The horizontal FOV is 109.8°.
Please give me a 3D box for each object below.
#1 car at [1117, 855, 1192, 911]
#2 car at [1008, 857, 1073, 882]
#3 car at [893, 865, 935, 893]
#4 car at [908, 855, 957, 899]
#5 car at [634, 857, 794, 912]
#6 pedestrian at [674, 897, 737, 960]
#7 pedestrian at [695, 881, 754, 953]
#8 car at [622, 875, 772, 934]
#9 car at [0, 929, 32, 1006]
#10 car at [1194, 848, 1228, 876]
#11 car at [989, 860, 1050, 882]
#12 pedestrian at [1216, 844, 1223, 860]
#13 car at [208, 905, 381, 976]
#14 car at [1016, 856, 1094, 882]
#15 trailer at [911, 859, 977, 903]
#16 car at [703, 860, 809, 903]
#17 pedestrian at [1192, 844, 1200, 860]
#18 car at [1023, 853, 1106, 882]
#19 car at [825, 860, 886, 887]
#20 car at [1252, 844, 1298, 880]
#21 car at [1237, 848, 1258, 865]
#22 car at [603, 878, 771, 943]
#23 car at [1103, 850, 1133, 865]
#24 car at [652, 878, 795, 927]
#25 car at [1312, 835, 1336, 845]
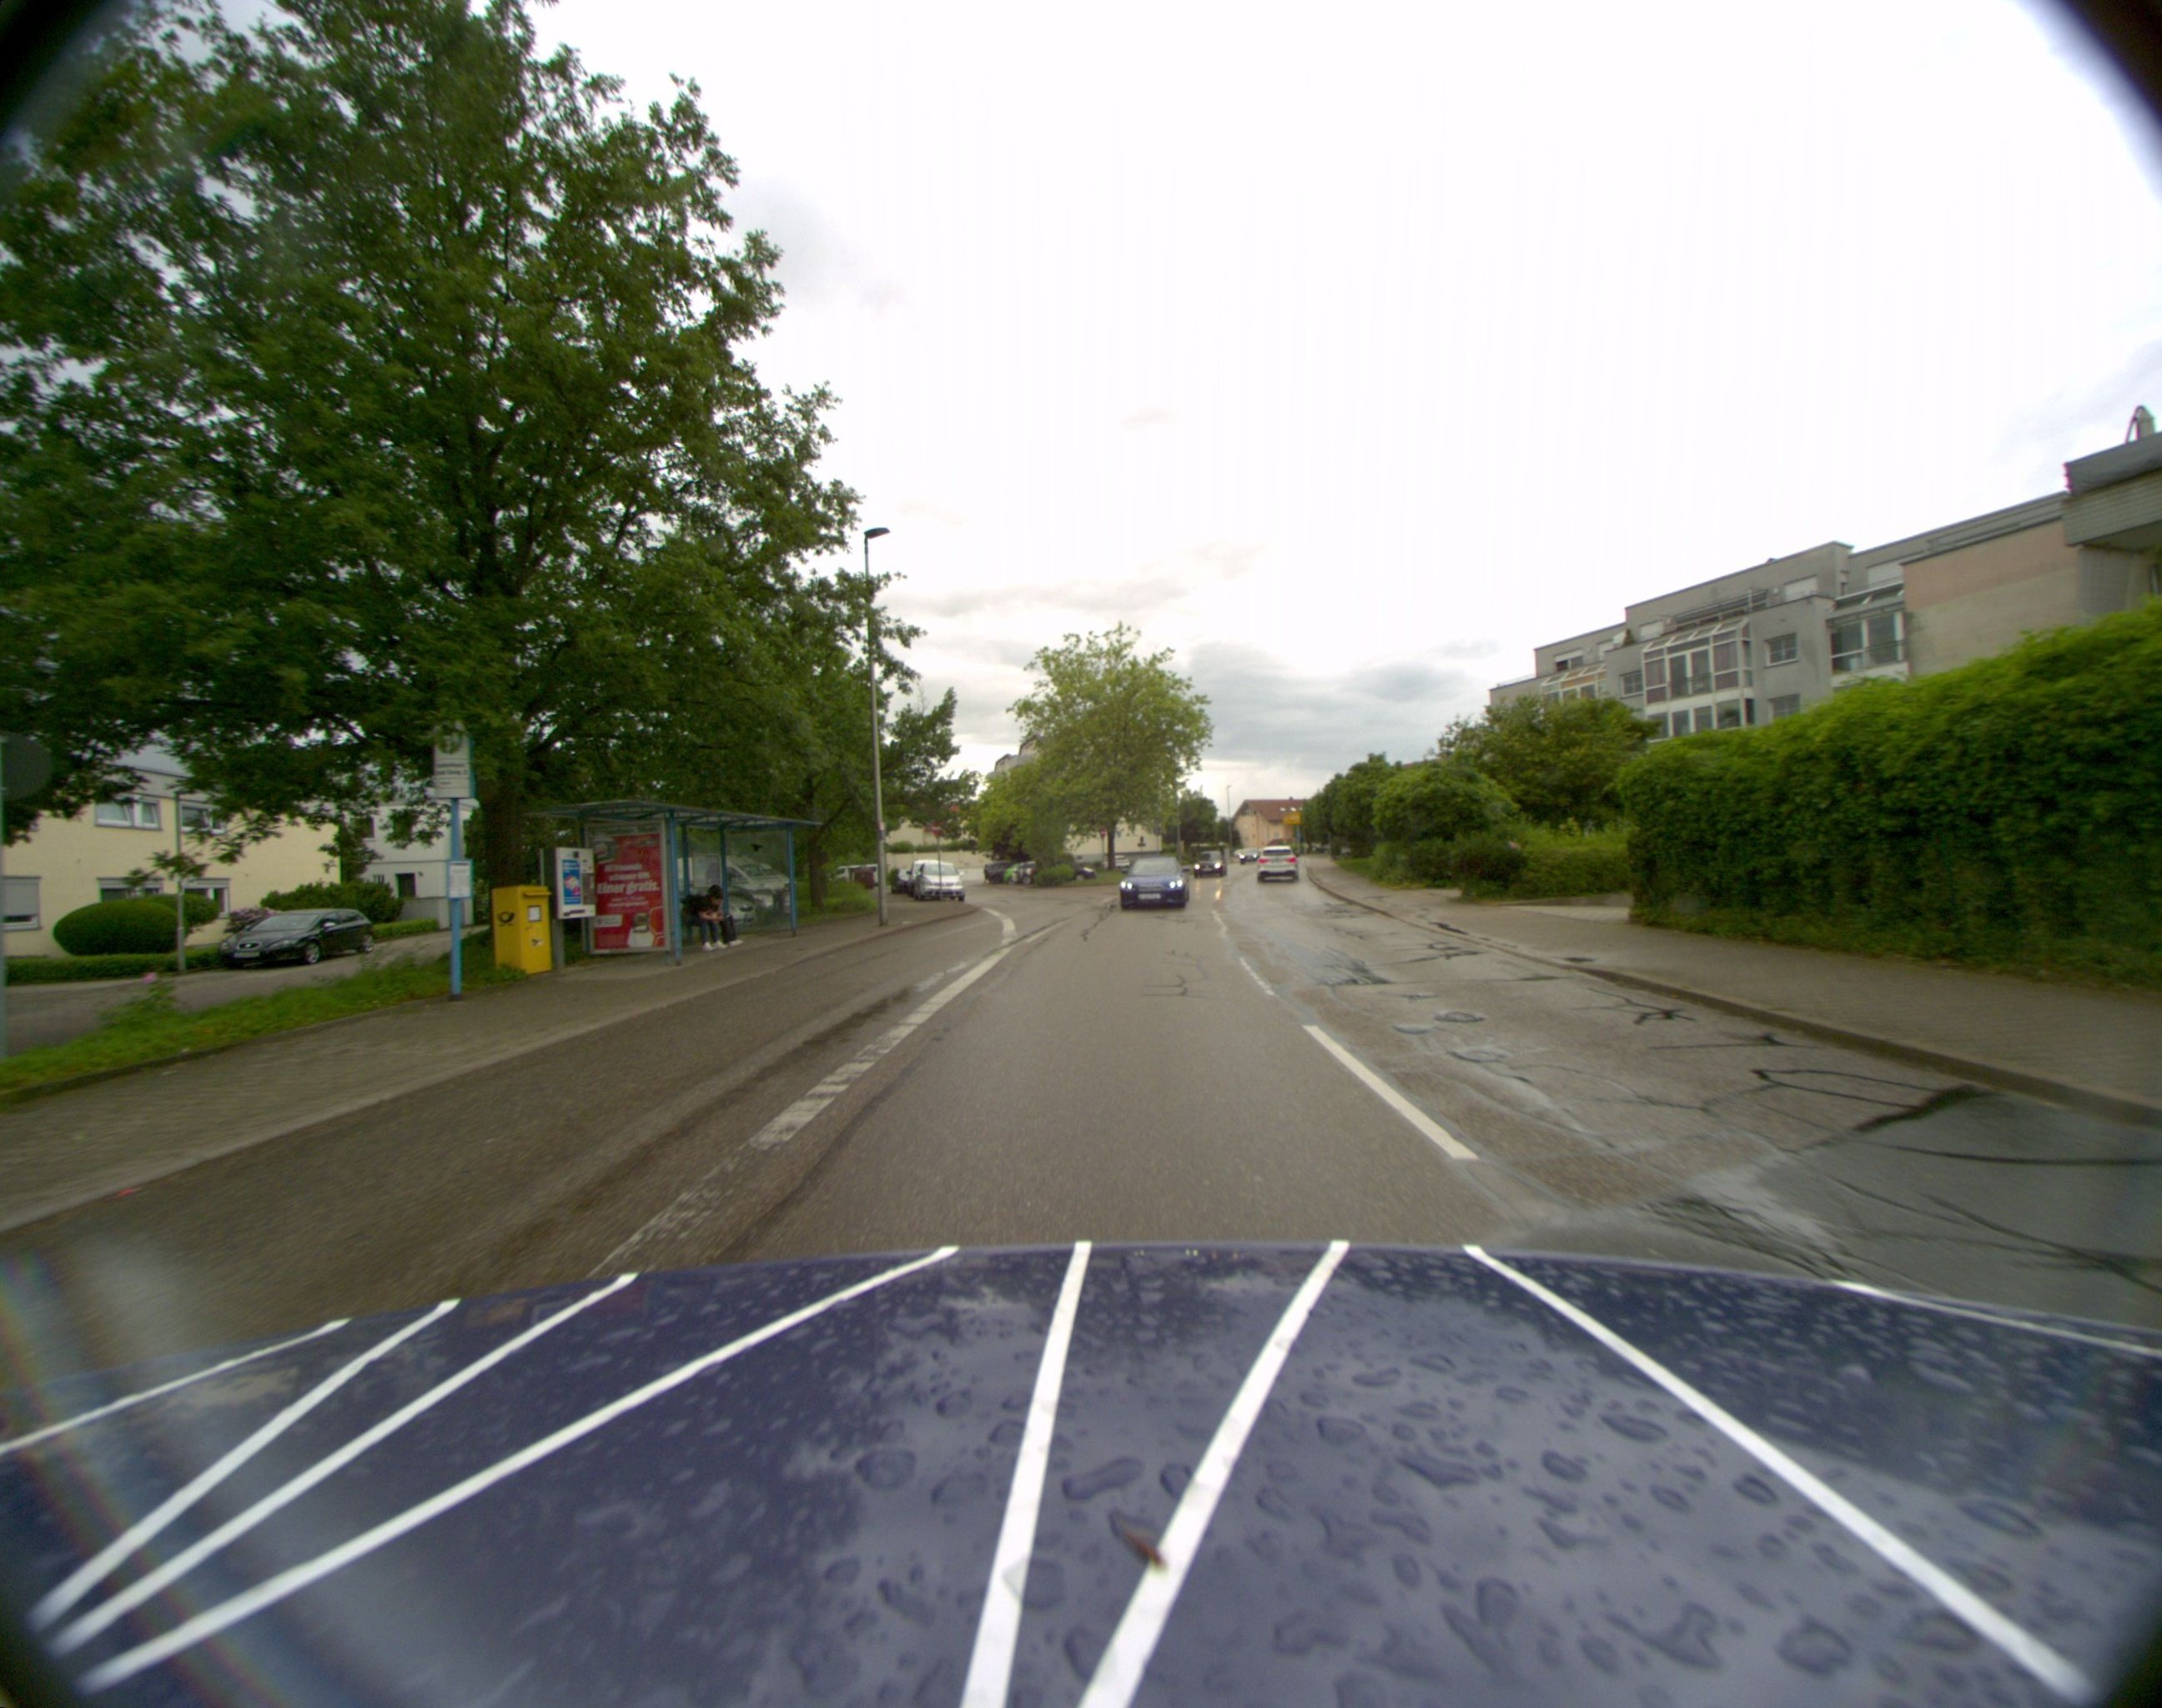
[{"bbox_3d":[2.313,0.802,22.931,1.912,1.425,4.303,-1,0,9],"label":"car"},{"bbox_3d":[-2.695,1.046,50.935,4.016,1.434,1.765,-3,1,11],"label":"car"},{"bbox_3d":[-9.370,1.340,42.360,1.767,1.374,4.181,-4,0,-19],"label":"car"},{"bbox_3d":[-7.283,1.062,36.952,2.001,1.870,4.207,-3,0,-14],"label":"car"},{"bbox_3d":[-15.437,1.264,32.131,5.832,2.002,2.001,-3,1,6],"label":"car"},{"bbox_3d":[-6.586,1.297,13.346,0.750,1.006,0.551,-3,1,8],"label":"pedestrian"},{"bbox_3d":[-6.557,1.147,14.007,0.728,1.243,0.551,-3,1,8],"label":"pedestrian"},{"bbox_3d":[-11.839,1.541,23.610,3.656,1.477,1.759,-3,0,-3],"label":"car"},{"bbox_3d":[-23.979,2.382,14.893,3.627,1.523,1.759,-1,-1,-21],"label":"car"},{"bbox_3d":[7.862,0.436,45.672,1.839,1.440,4.003,-4,0,11],"label":"car"},{"bbox_3d":[-4.413,1.186,54.677,4.016,1.363,1.765,-3,0,11],"label":"car"},{"bbox_3d":[15.164,-0.203,83.218,0.591,1.656,0.775,-3,1,0],"label":"pedestrian"},{"bbox_3d":[-22.193,2.362,21.678,1.694,1.501,3.821,-4,0,-17],"label":"car"},{"bbox_3d":[-1.612,0.942,47.782,4.580,1.434,1.765,-3,1,11],"label":"car"},{"bbox_3d":[-5.688,1.053,31.133,2.001,1.534,4.419,-3,0,-18],"label":"trailer"},{"bbox_3d":[-17.223,1.451,40.410,4.758,2.002,2.001,-3,1,10],"label":"car"},{"bbox_3d":[13.431,-0.252,88.659,0.615,1.762,0.670,-4,1,-8],"label":"pedestrian"},{"bbox_3d":[-0.954,0.801,45.039,4.580,1.434,1.765,-3,1,11],"label":"car"},{"bbox_3d":[-20.165,1.727,68.047,4.999,2.002,2.083,-3,0,-16],"label":"car"},{"bbox_3d":[9.429,0.331,37.243,1.893,1.602,4.868,-1,1,11],"label":"car"},{"bbox_3d":[16.689,0.234,75.866,1.839,1.541,4.004,-4,0,14],"label":"car"},{"bbox_3d":[-10.825,1.531,21.024,3.653,1.477,1.760,-3,0,6],"label":"car"},{"bbox_3d":[3.899,0.428,80.023,1.748,1.472,3.763,-3,0,-20],"label":"car"},{"bbox_3d":[-12.313,1.657,26.341,4.040,1.329,1.733,-3,0,-1],"label":"car"},{"bbox_3d":[42.602,-2.393,133.129,1.740,1.592,3.992,-3,0,-24],"label":"car"}]
